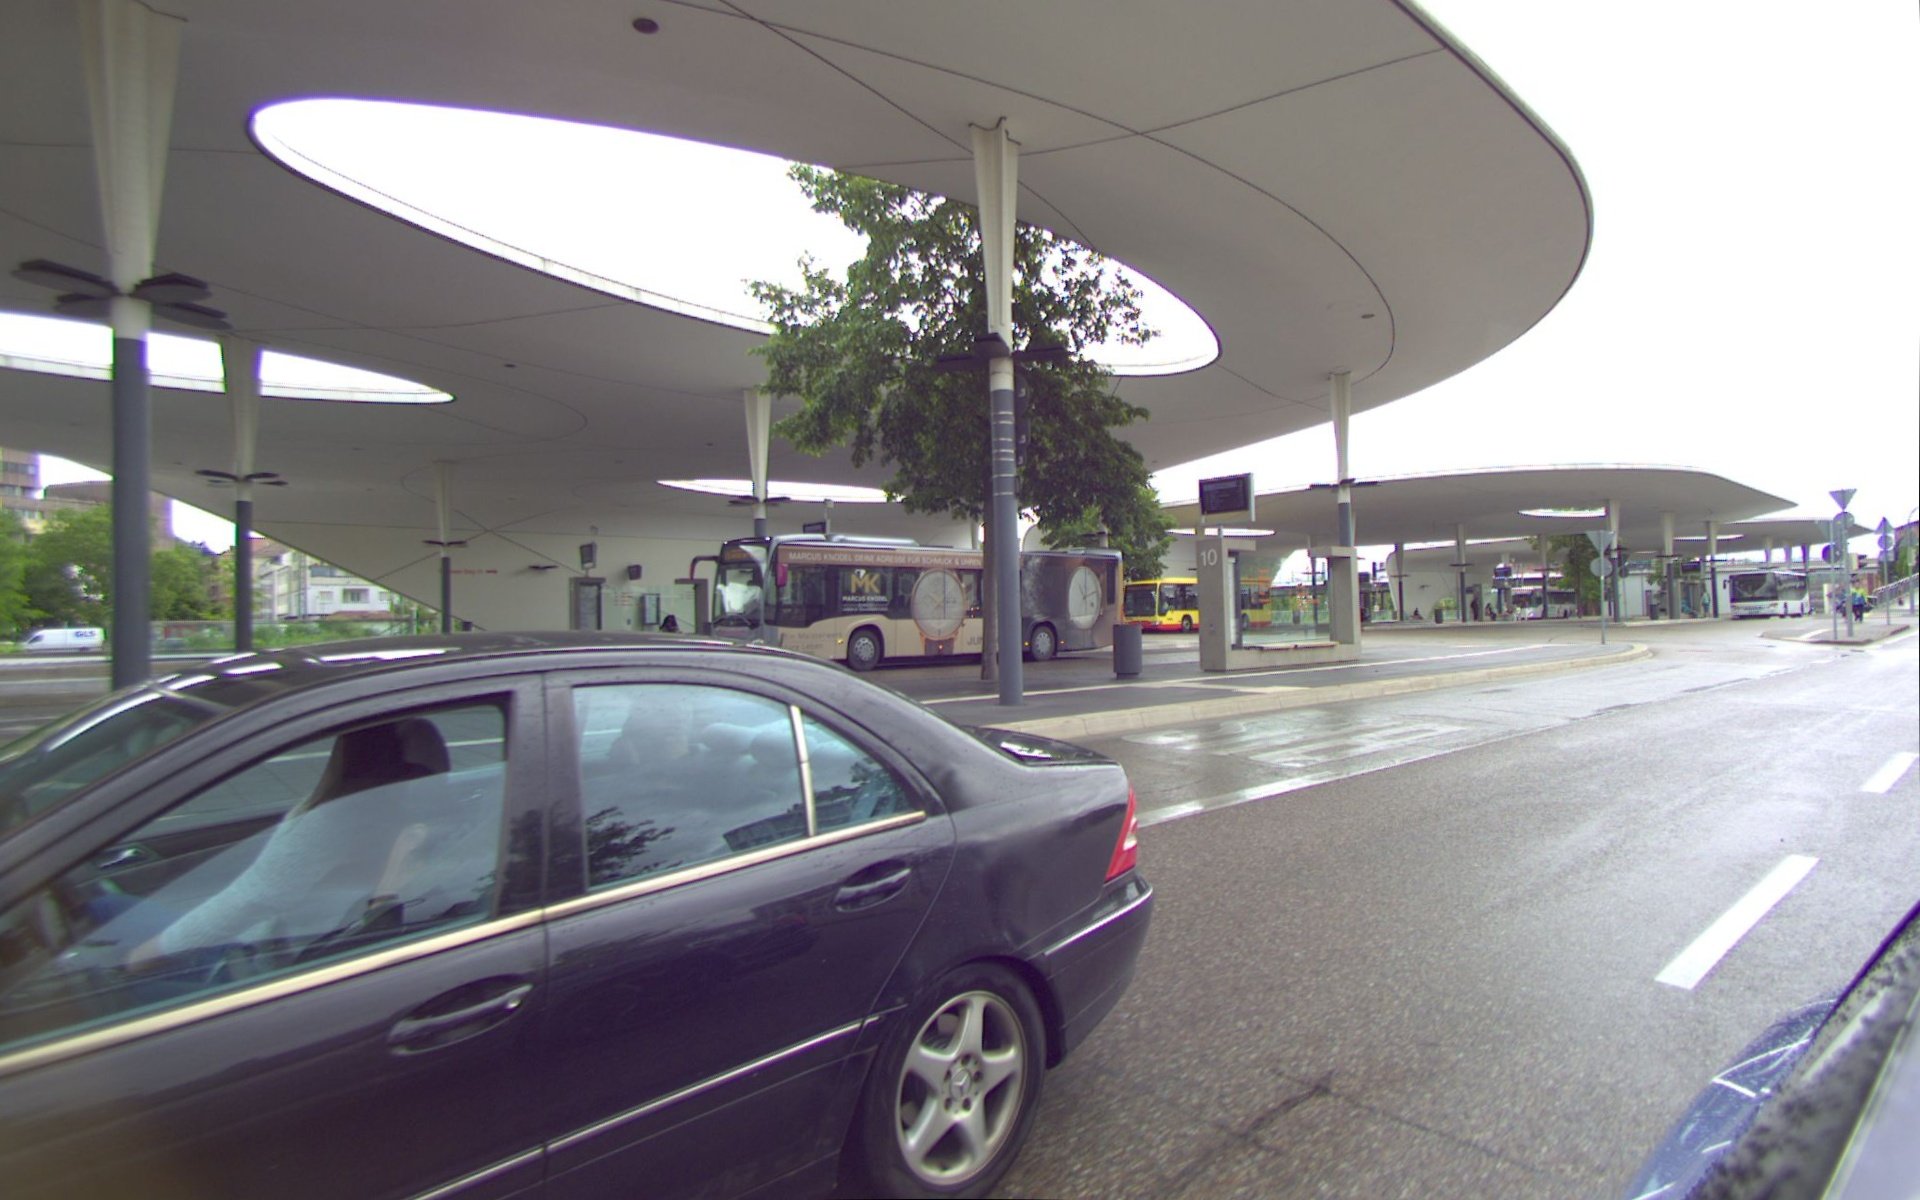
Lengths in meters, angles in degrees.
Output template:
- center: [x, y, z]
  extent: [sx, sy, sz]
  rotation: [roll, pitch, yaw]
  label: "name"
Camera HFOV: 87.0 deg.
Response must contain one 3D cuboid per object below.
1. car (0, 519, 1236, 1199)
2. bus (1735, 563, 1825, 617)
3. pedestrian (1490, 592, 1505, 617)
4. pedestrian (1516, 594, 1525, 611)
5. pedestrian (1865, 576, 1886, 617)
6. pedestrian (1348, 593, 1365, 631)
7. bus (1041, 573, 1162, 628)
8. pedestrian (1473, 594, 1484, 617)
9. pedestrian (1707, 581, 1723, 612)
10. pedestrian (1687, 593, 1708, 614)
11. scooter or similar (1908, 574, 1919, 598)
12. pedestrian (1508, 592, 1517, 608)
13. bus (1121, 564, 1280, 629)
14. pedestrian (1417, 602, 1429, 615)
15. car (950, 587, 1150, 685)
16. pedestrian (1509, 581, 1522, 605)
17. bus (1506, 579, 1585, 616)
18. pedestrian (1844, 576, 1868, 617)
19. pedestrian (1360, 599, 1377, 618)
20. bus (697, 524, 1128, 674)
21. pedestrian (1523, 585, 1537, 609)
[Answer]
- center: [-1.267, 0.651, 2.345]
  extent: [4.230, 1.481, 1.699]
  rotation: [2, -1, -43]
  label: "car"
- center: [55.736, -0.694, 68.623]
  extent: [12.212, 3.404, 2.849]
  rotation: [0, 1, -42]
  label: "bus"
- center: [36.559, 0.317, 68.813]
  extent: [0.588, 1.609, 0.667]
  rotation: [-7, -2, 45]
  label: "pedestrian"
- center: [38.755, 0.183, 69.976]
  extent: [0.357, 1.159, 0.396]
  rotation: [-1, -1, 0]
  label: "pedestrian"
- center: [39.319, -0.157, 43.466]
  extent: [0.571, 1.691, 0.523]
  rotation: [-4, 0, -42]
  label: "pedestrian"
- center: [18.134, 0.536, 46.262]
  extent: [0.711, 1.705, 1.013]
  rotation: [0, 1, 23]
  label: "pedestrian"
- center: [9.626, -0.015, 67.844]
  extent: [9.692, 3.442, 2.517]
  rotation: [-1, 0, -43]
  label: "bus"
- center: [34.749, 0.350, 67.769]
  extent: [0.513, 1.521, 0.381]
  rotation: [-1, -1, 9]
  label: "pedestrian"
- center: [47.862, -0.216, 64.181]
  extent: [0.636, 1.911, 0.587]
  rotation: [2, -1, -31]
  label: "pedestrian"
- center: [46.832, 0.206, 64.280]
  extent: [0.943, 1.271, 0.643]
  rotation: [1, -1, 25]
  label: "pedestrian"
- center: [50.791, -0.737, 53.742]
  extent: [1.828, 1.236, 0.464]
  rotation: [-1, -1, -42]
  label: "scooter or similar"
- center: [38.293, 0.029, 70.142]
  extent: [0.345, 1.095, 0.392]
  rotation: [-1, -1, 0]
  label: "pedestrian"
- center: [14.120, -0.295, 58.463]
  extent: [11.941, 3.298, 2.790]
  rotation: [-3, 1, -43]
  label: "bus"
- center: [49.336, 0.926, 107.793]
  extent: [0.699, 1.341, 0.801]
  rotation: [-5, -2, -36]
  label: "pedestrian"
- center: [1.561, 0.555, 16.973]
  extent: [3.183, 1.472, 1.648]
  rotation: [0, -1, -43]
  label: "car"
- center: [39.230, -0.482, 71.451]
  extent: [0.546, 1.675, 0.570]
  rotation: [0, -1, -35]
  label: "pedestrian"
- center: [55.391, -0.307, 95.565]
  extent: [11.933, 3.299, 2.792]
  rotation: [-1, -1, -42]
  label: "bus"
- center: [38.918, -0.145, 43.968]
  extent: [0.571, 1.691, 0.589]
  rotation: [-6, 0, -42]
  label: "pedestrian"
- center: [30.915, 0.647, 76.594]
  extent: [0.786, 1.341, 0.711]
  rotation: [-5, -2, -34]
  label: "pedestrian"
- center: [-0.587, -0.073, 25.724]
  extent: [11.880, 3.082, 2.725]
  rotation: [-1, 0, -42]
  label: "bus"
- center: [40.456, -0.226, 71.810]
  extent: [0.632, 1.675, 0.638]
  rotation: [-1, -1, 9]
  label: "pedestrian"
